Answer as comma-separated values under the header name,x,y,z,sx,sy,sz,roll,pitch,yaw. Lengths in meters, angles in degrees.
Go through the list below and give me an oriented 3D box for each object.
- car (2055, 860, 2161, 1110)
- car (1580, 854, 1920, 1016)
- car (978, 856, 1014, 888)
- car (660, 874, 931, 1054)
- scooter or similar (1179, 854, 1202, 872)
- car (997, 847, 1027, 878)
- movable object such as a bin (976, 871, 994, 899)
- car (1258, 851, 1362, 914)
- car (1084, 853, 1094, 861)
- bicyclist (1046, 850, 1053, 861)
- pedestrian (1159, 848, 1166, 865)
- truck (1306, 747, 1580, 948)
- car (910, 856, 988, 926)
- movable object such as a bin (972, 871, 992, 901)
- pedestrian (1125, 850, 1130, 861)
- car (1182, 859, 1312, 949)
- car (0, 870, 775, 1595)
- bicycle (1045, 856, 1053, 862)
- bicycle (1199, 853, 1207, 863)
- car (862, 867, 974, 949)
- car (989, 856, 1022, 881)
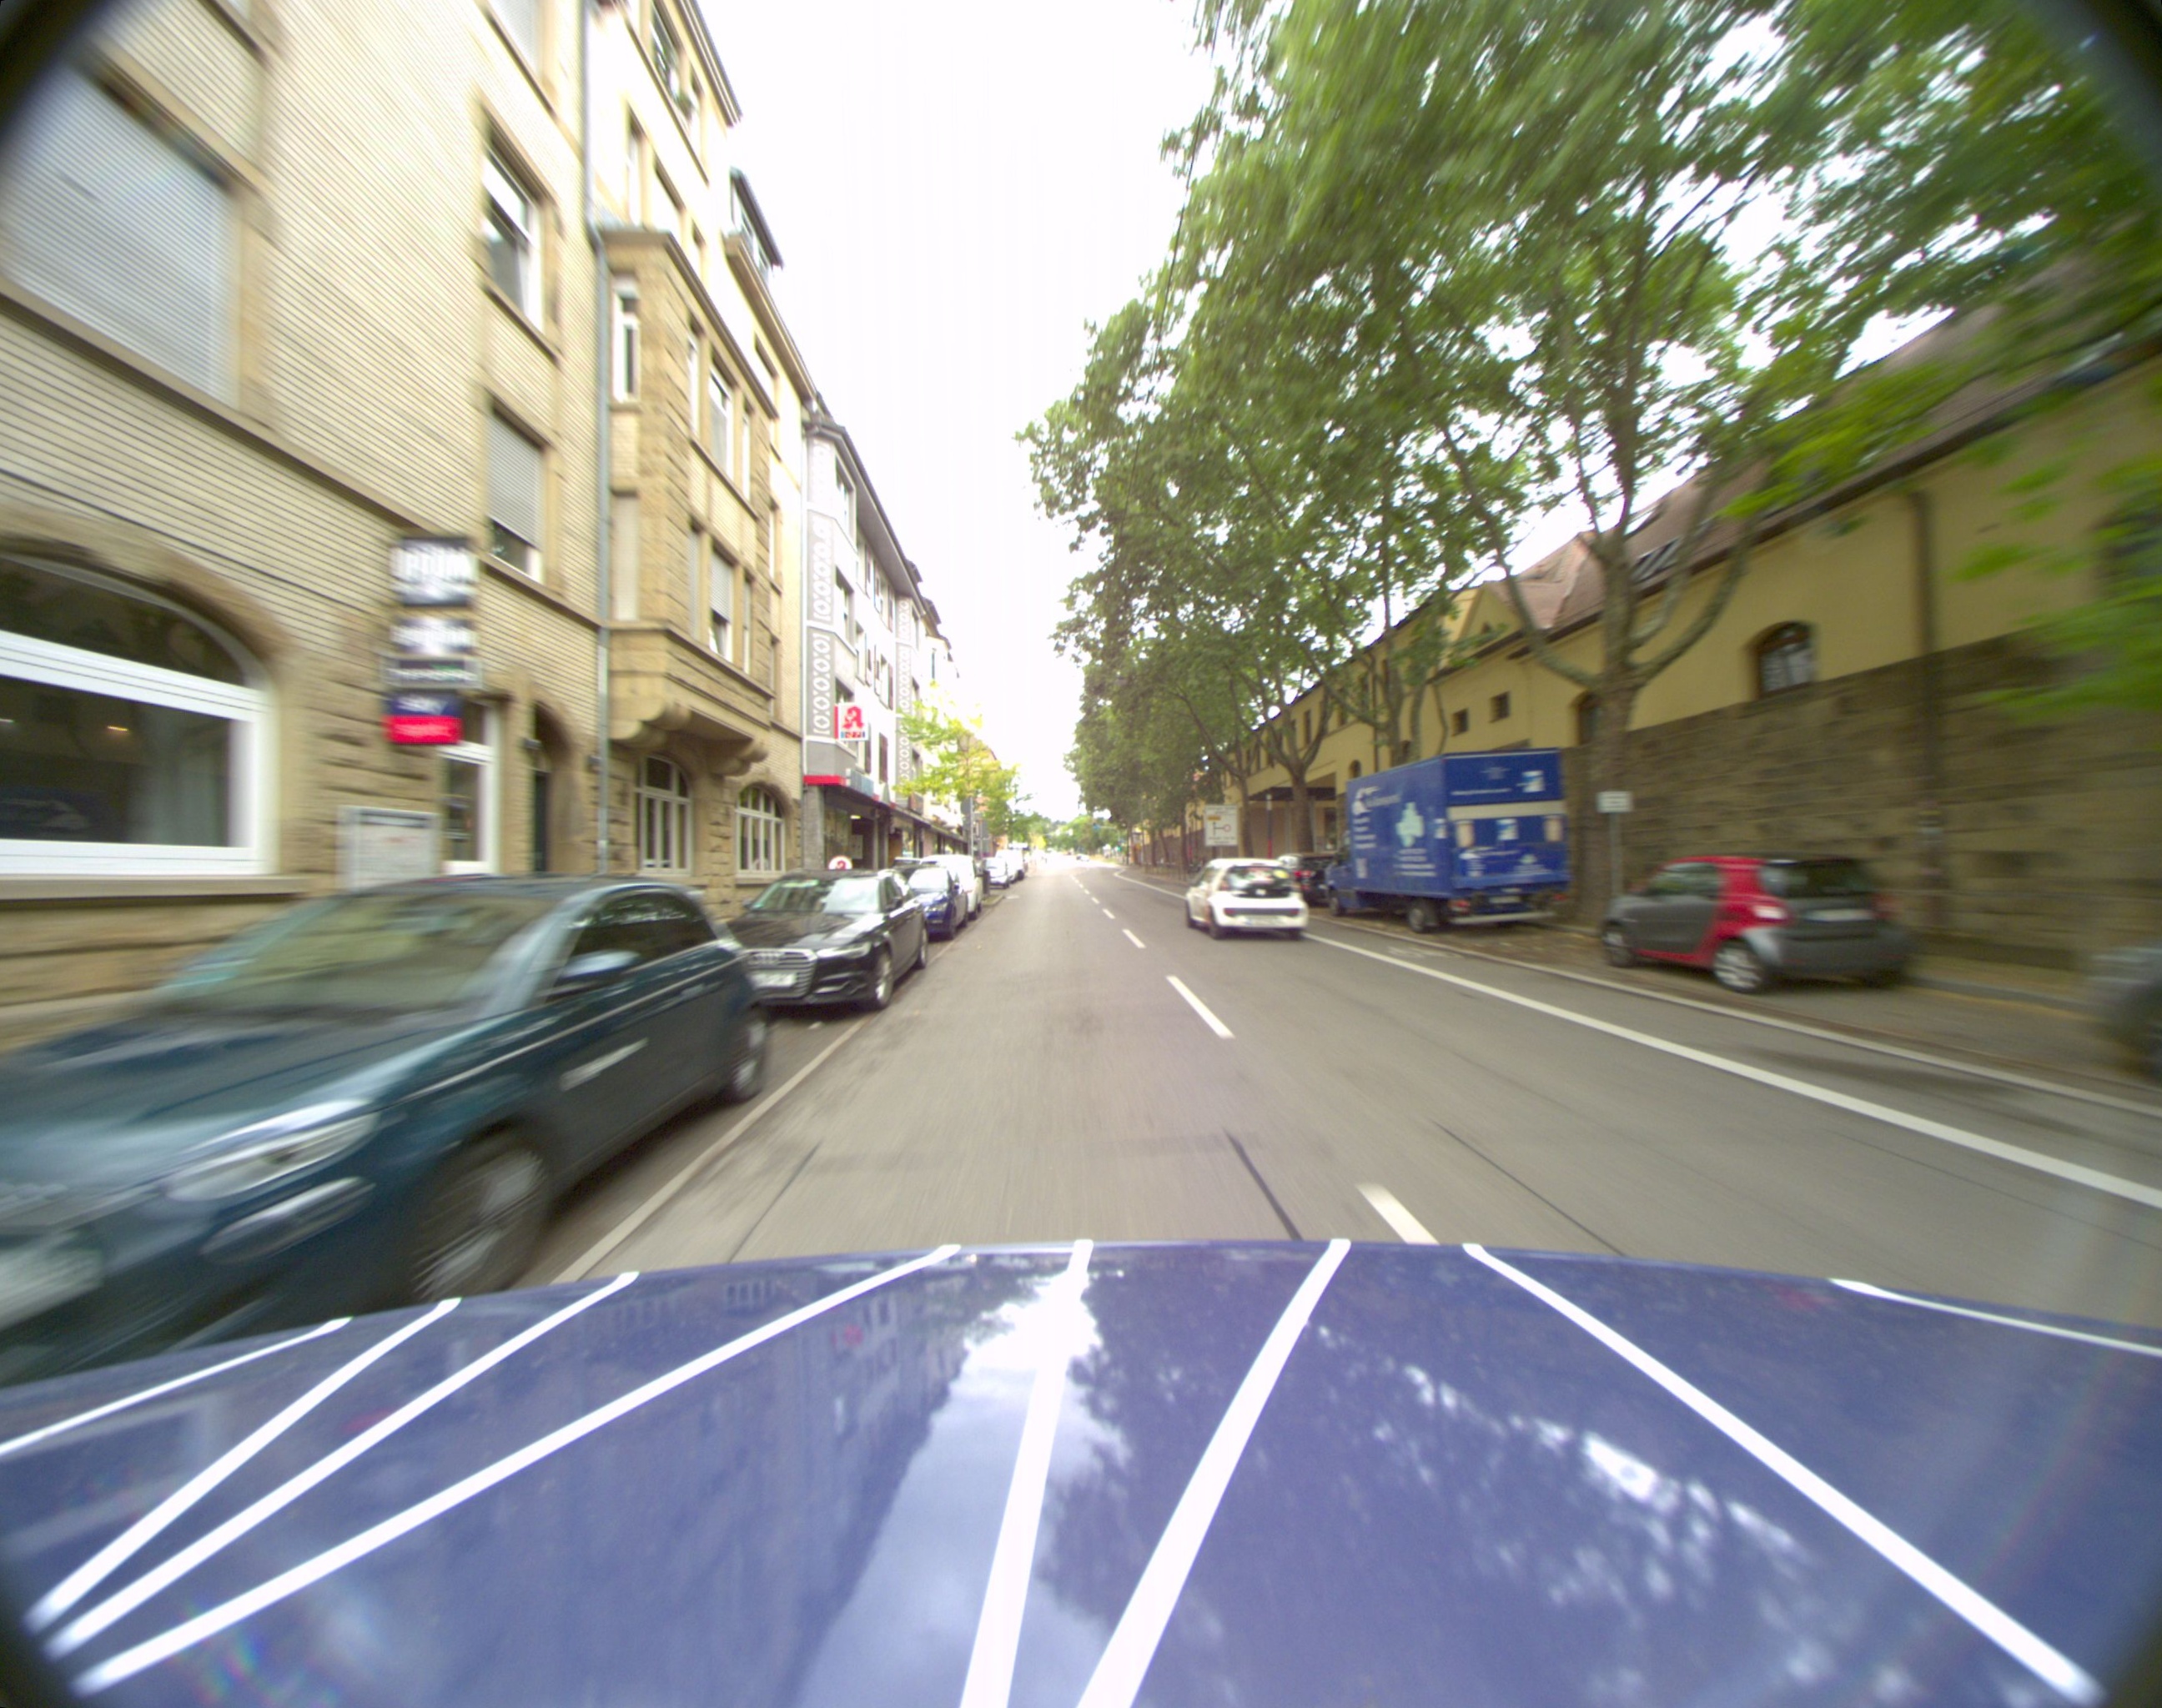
name,x,y,z,sx,sy,sz,roll,pitch,yaw
car,7.883,0.852,3.420,1.598,1.564,4.084,-3,1,-5
car,7.868,0.834,9.310,1.484,1.564,2.991,-3,1,0
car,-4.222,0.868,38.321,1.485,1.525,3.522,0,0,-1
car,-3.003,1.048,9.151,1.743,1.454,4.773,1,0,-4
scooter or similar,7.775,0.646,53.984,1.622,1.233,0.446,-3,1,-24
car,-4.597,0.547,50.740,1.912,1.919,4.918,0,0,-5
movable object such as a bin,-3.581,1.154,28.409,0.624,1.018,0.696,-1,0,-10
car,6.982,0.800,23.628,1.736,1.679,4.251,-3,1,-3
car,1.823,0.742,170.818,1.919,1.640,3.634,-3,1,6
bicyclist,-4.696,0.224,112.406,0.683,1.619,0.749,-1,1,-32
pedestrian,8.916,0.297,83.410,0.673,1.865,0.816,0,1,0
truck,7.397,-0.129,16.867,2.221,3.396,7.245,-3,0,-3
car,-3.470,0.914,20.682,1.684,1.653,4.541,1,0,-5
movable object such as a bin,-3.567,1.142,27.427,0.624,1.018,0.696,-1,1,-4
pedestrian,7.415,0.208,120.893,0.625,1.653,0.549,-3,1,0
car,3.063,0.858,14.735,1.587,1.455,3.651,1,0,-2
car,-2.927,0.925,3.575,1.569,1.601,3.653,-1,0,-2
bicycle,-4.694,0.731,112.478,0.369,0.986,1.717,-2,1,-31
bicycle,10.580,0.336,65.806,0.336,0.841,1.775,-2,0,-1
car,-3.276,1.025,16.007,1.610,1.389,4.274,1,0,-3
car,-4.460,0.825,45.141,1.688,1.407,4.041,0,0,-2
